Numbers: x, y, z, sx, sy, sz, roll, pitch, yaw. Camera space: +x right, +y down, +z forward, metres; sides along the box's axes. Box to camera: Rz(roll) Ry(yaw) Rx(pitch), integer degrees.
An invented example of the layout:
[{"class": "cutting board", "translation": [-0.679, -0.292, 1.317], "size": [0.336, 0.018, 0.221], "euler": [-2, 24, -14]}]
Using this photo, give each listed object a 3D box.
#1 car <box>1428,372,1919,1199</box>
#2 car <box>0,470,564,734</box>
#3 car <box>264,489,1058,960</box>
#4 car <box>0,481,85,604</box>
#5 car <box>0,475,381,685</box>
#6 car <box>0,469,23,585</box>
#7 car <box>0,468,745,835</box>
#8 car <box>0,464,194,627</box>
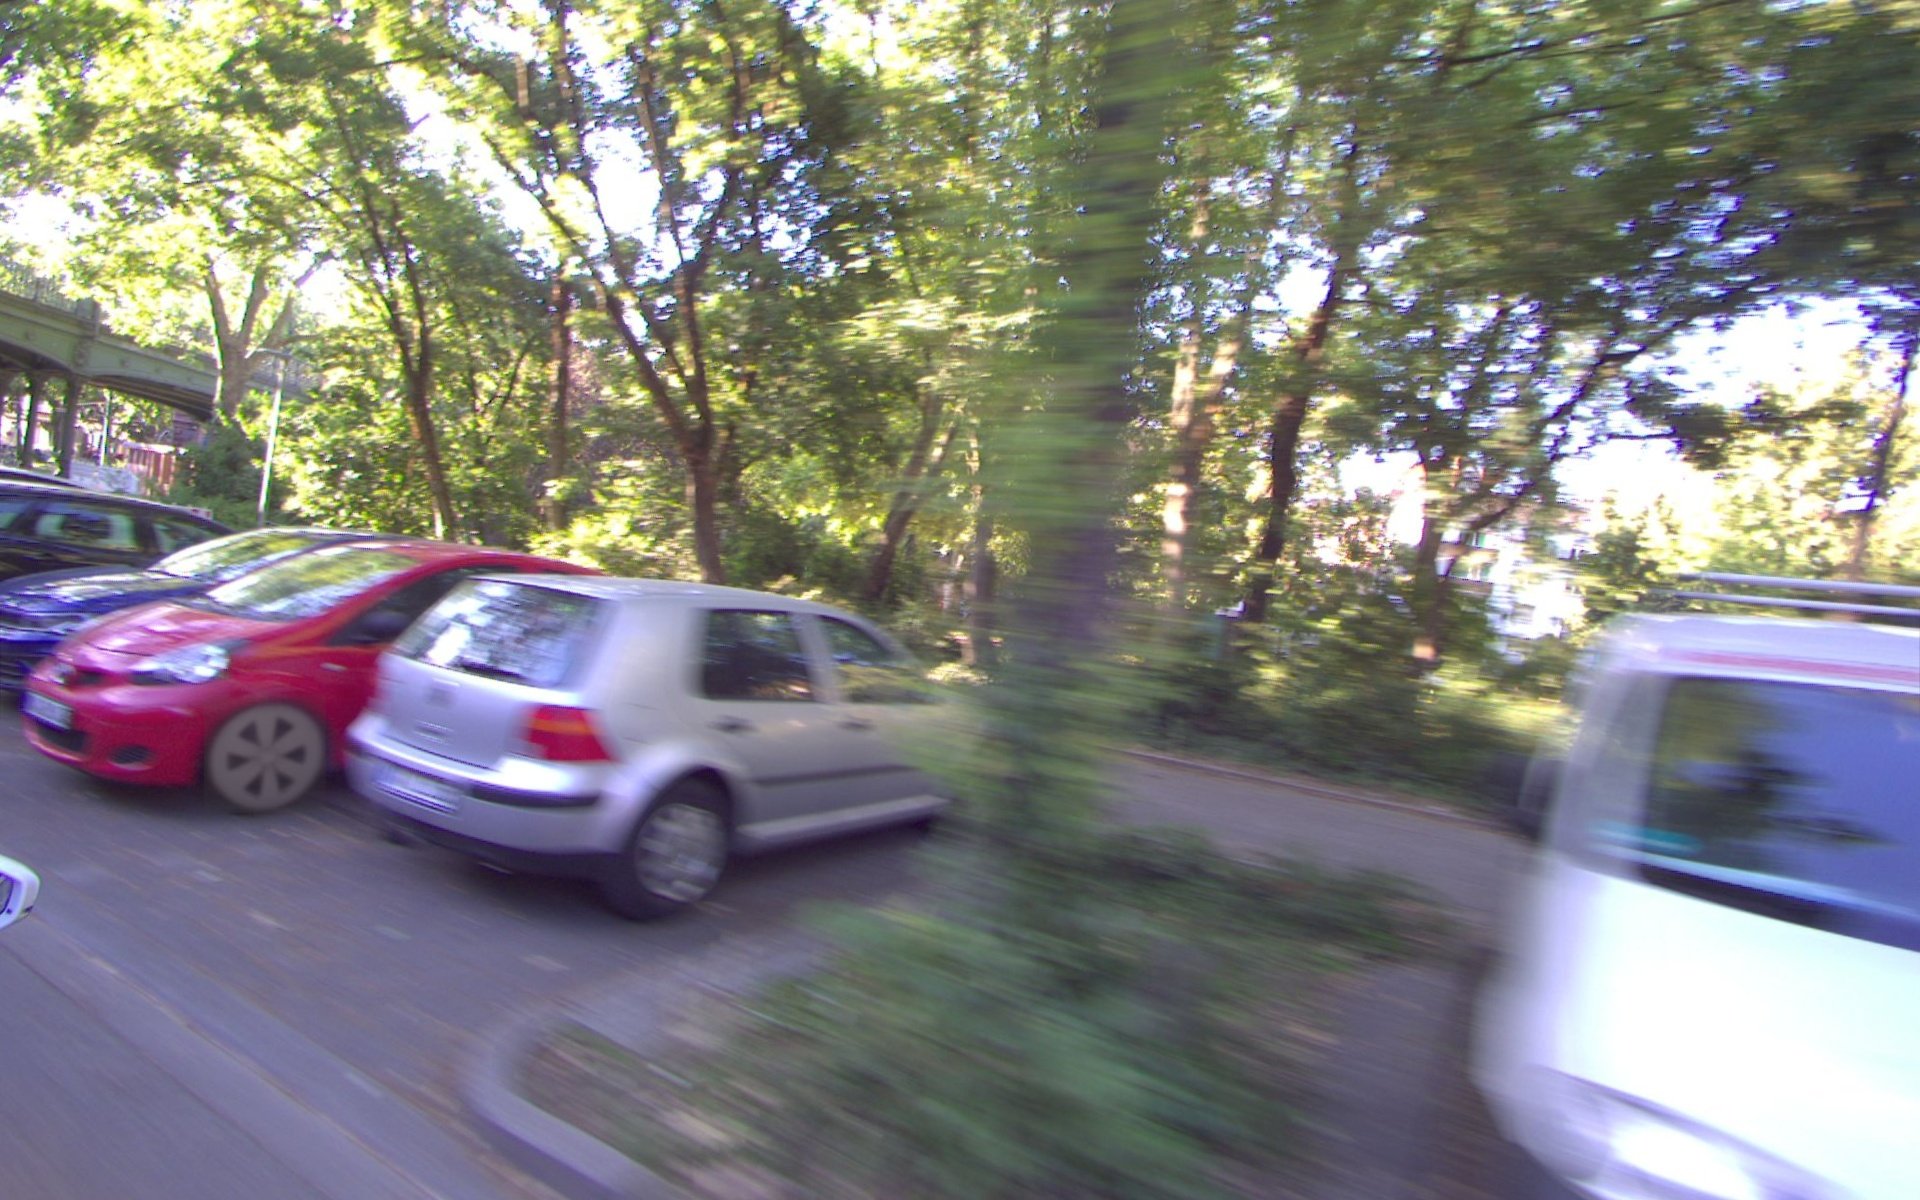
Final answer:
[{"class": "car", "translation": [2.659, 0.833, 2.993], "size": [1.841, 1.950, 4.674], "euler": [7, 2, 30]}, {"class": "car", "translation": [-5.488, 0.117, 8.157], "size": [1.560, 1.592, 3.995], "euler": [7, -1, 30]}, {"class": "car", "translation": [-1.204, 0.580, 5.629], "size": [1.639, 1.592, 3.992], "euler": [7, -1, 34]}, {"class": "car", "translation": [-14.195, -1.019, 12.641], "size": [1.844, 1.550, 4.384], "euler": [7, -1, 30]}, {"class": "car", "translation": [-7.759, -0.179, 9.070], "size": [1.560, 1.592, 4.029], "euler": [7, -1, 30]}, {"class": "car", "translation": [-16.284, -1.386, 13.909], "size": [1.874, 1.728, 4.386], "euler": [7, -1, 28]}, {"class": "car", "translation": [-3.451, 0.363, 6.628], "size": [1.560, 1.592, 3.995], "euler": [7, -1, 30]}, {"class": "car", "translation": [-11.902, -0.810, 11.476], "size": [1.875, 1.715, 4.542], "euler": [7, -1, 30]}]
